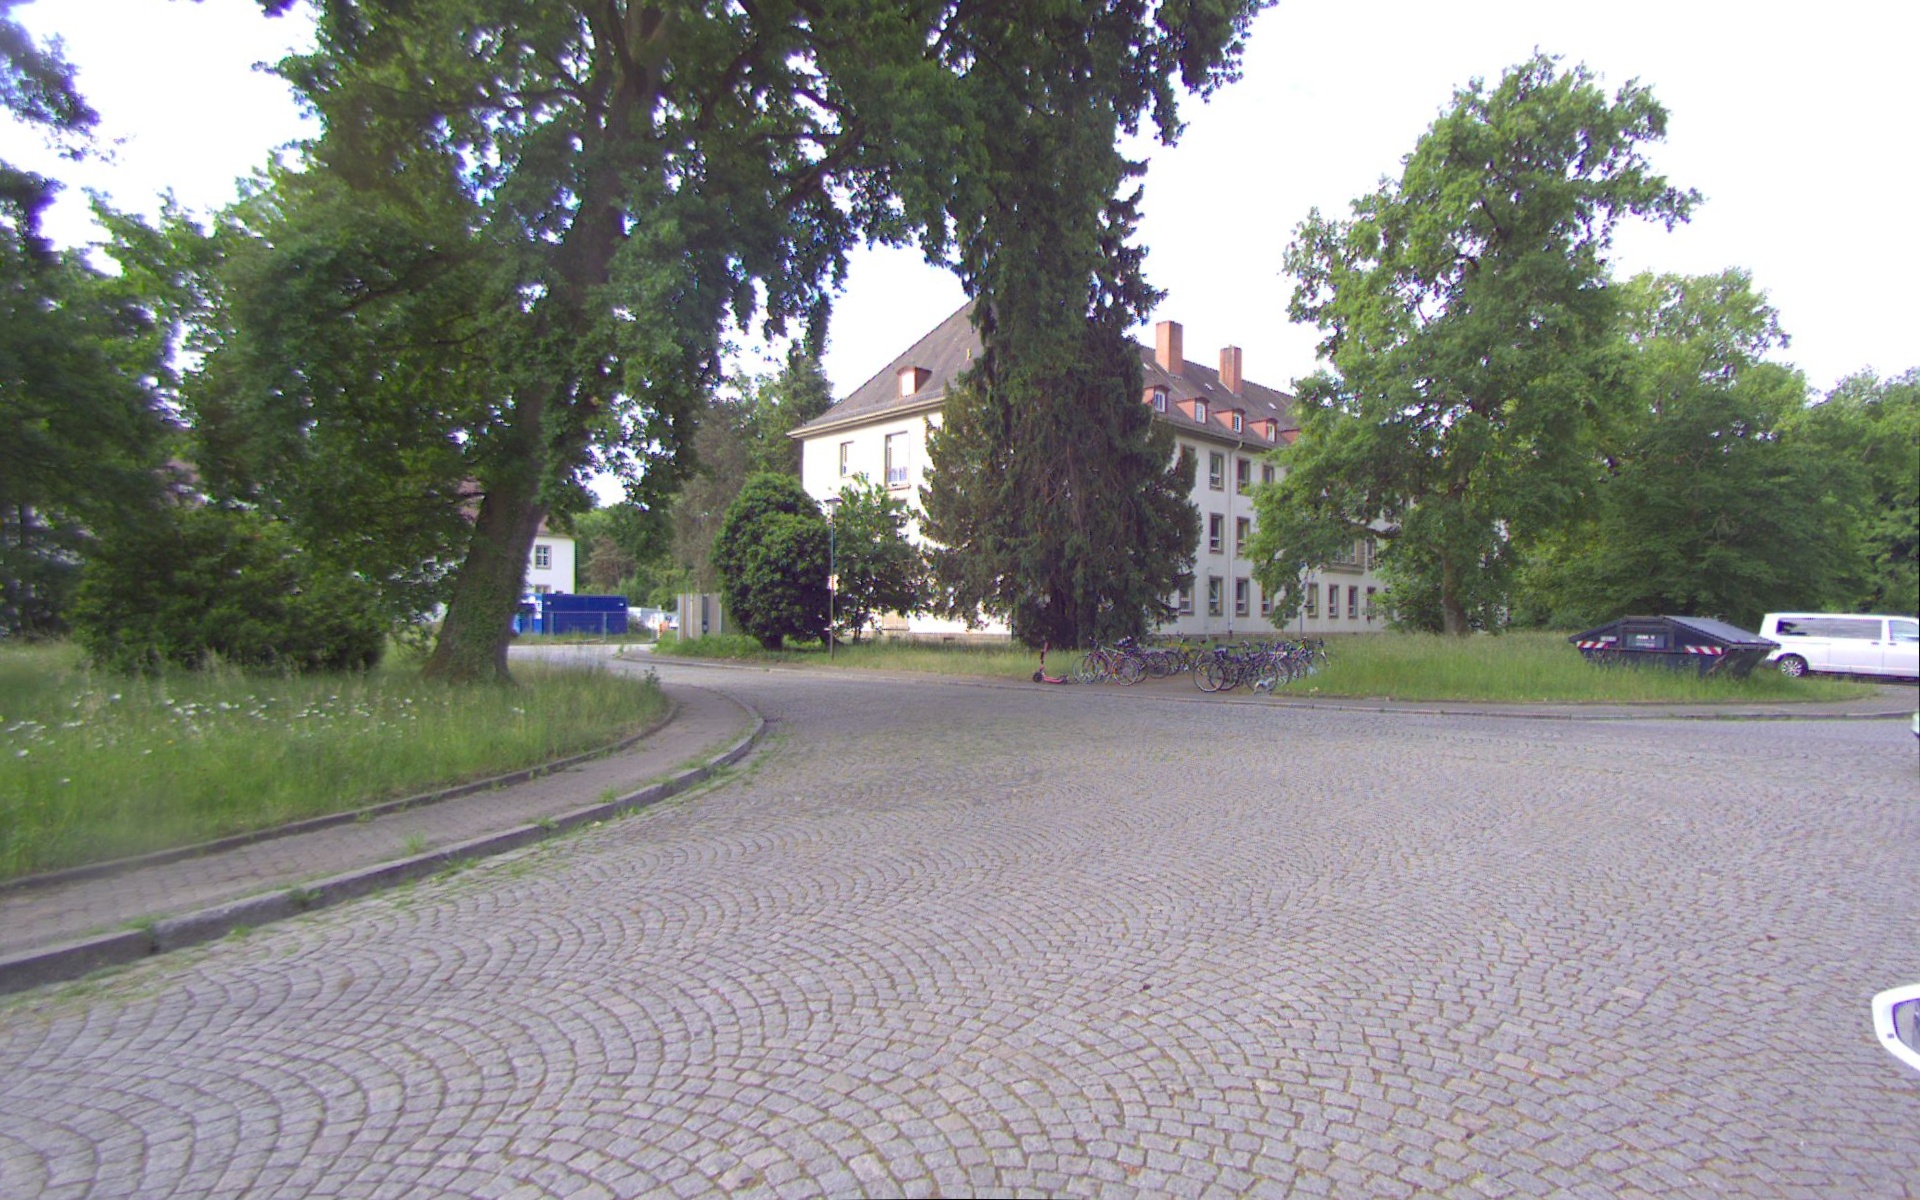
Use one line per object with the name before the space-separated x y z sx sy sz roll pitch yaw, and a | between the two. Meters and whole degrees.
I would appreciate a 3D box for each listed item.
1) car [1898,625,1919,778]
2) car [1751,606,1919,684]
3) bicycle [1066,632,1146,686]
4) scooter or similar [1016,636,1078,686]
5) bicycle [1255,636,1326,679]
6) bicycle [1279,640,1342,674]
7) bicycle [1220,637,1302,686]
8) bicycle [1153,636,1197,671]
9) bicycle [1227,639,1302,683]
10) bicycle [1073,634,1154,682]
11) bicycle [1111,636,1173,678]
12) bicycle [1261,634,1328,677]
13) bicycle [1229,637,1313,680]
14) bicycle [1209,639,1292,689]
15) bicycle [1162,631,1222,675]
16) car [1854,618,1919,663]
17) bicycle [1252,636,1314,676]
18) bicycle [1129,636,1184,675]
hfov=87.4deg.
car | 11.558 0.999 8.928 1.842 1.456 4.645 -1 0 -44
car | 26.841 1.320 29.696 2.174 2.087 5.149 2 -1 -44
bicycle | 3.642 1.464 25.075 1.866 1.239 0.643 1 1 28
scooter or similar | 2.186 1.514 25.298 0.676 1.211 1.535 0 -1 -40
bicycle | 8.921 1.540 27.106 1.744 1.120 0.541 -1 1 28
bicycle | 9.919 1.603 28.429 1.592 0.923 0.526 -1 0 28
bicycle | 7.245 1.461 24.165 1.766 1.118 0.701 -1 0 28
bicycle | 6.552 1.629 30.632 1.240 1.042 0.433 -1 -4 28
bicycle | 7.529 1.497 24.851 1.665 1.015 0.631 -1 0 28
bicycle | 3.915 1.470 25.698 1.955 1.129 0.643 0 1 28
bicycle | 4.894 1.527 27.040 1.597 1.088 0.539 0 1 17
bicycle | 9.183 1.525 27.590 1.671 1.131 0.541 -1 1 28
bicycle | 7.917 1.476 25.574 1.924 1.018 0.685 -1 0 28
bicycle | 6.811 1.488 23.563 1.741 1.118 0.701 -1 0 28
bicycle | 6.618 1.506 28.652 1.612 1.201 0.574 0 1 21
car | 46.175 2.007 48.824 3.943 2.040 1.911 3 1 43
bicycle | 9.085 1.557 28.264 1.592 1.073 0.526 -1 1 28
bicycle | 5.558 1.564 28.389 1.486 1.049 0.545 0 1 17
